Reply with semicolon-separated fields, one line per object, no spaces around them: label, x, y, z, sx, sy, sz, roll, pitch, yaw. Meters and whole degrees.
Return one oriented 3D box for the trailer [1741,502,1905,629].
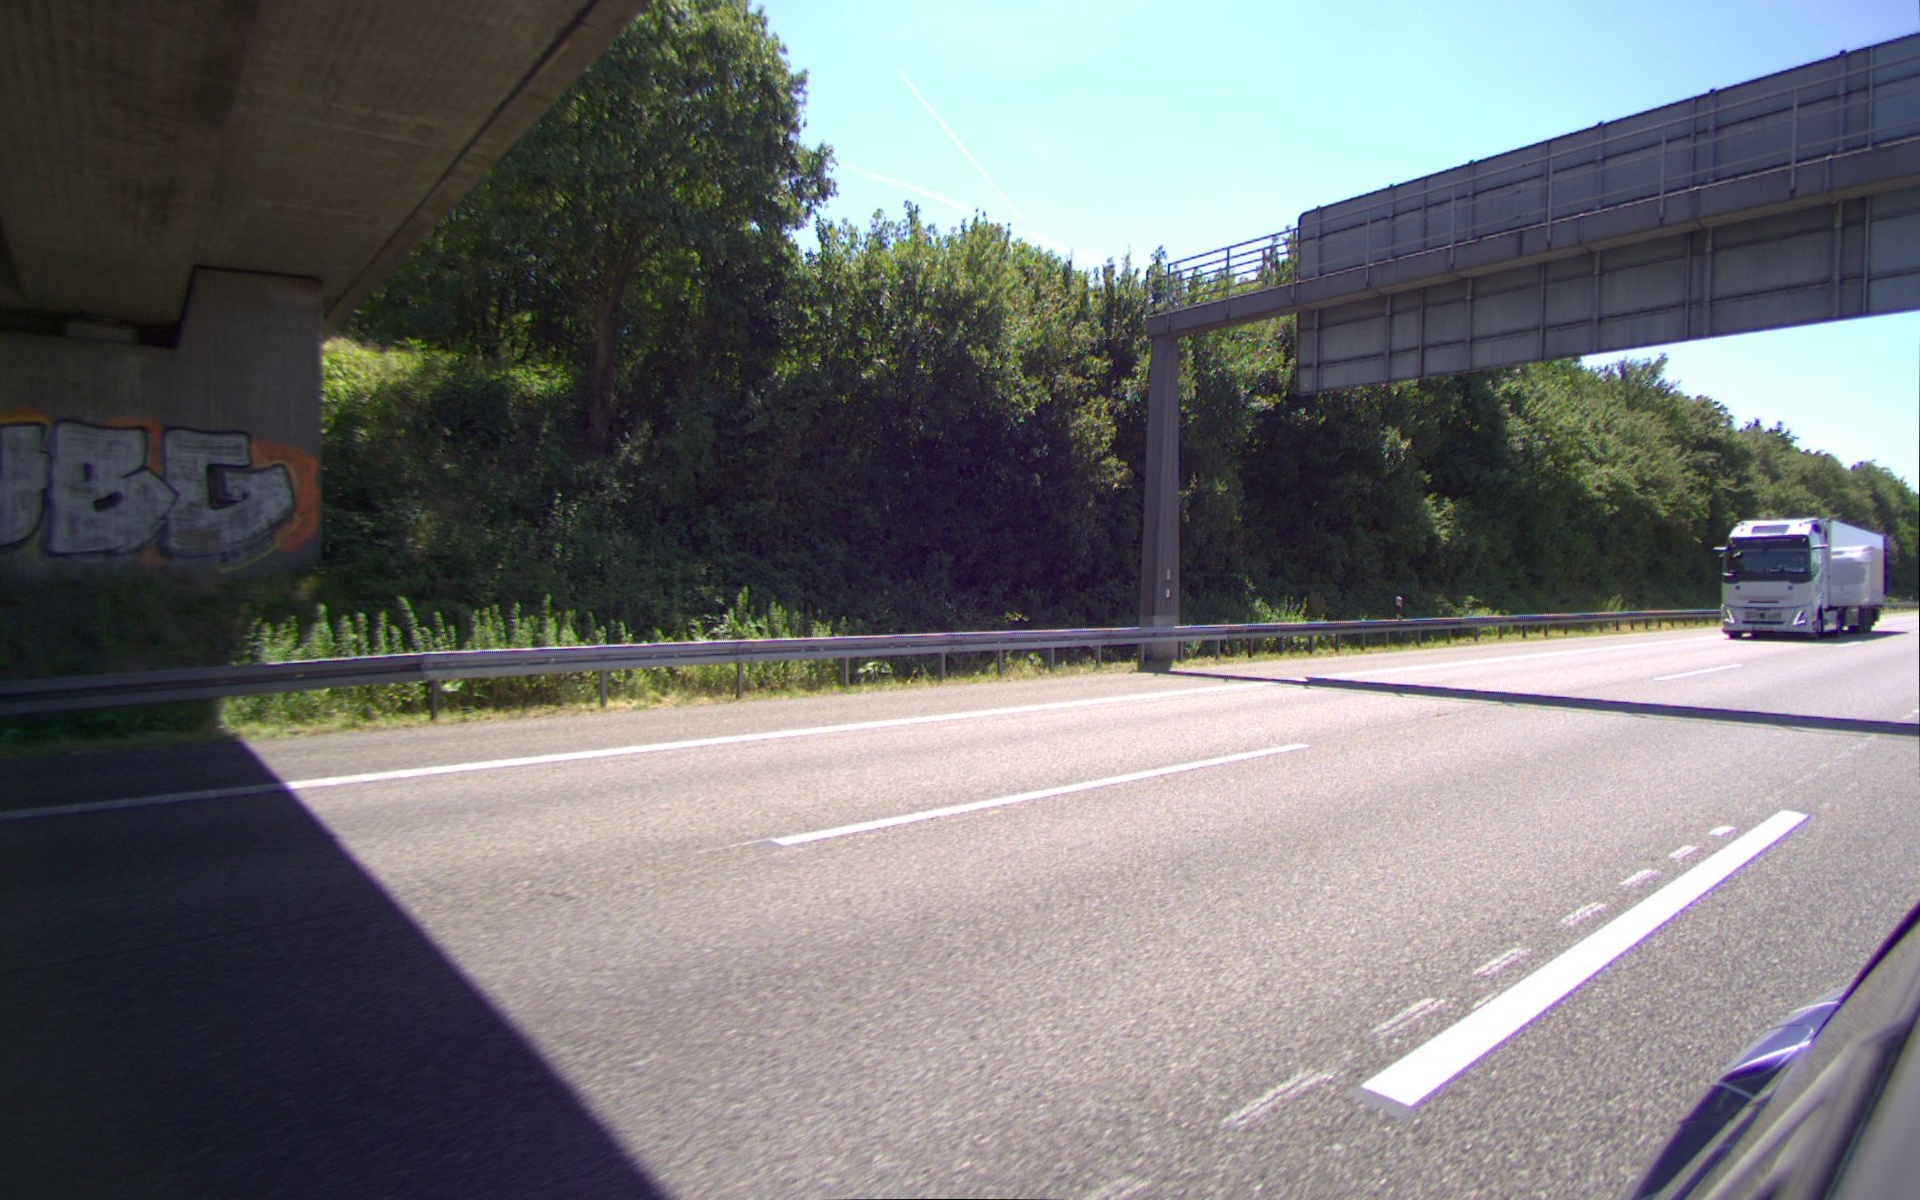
trailer;33.990;-1.200;39.535;13.596;4.278;3.044;0;0;-42

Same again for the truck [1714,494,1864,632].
truck;28.305;-1.182;34.476;5.944;4.268;3.052;0;0;-41
